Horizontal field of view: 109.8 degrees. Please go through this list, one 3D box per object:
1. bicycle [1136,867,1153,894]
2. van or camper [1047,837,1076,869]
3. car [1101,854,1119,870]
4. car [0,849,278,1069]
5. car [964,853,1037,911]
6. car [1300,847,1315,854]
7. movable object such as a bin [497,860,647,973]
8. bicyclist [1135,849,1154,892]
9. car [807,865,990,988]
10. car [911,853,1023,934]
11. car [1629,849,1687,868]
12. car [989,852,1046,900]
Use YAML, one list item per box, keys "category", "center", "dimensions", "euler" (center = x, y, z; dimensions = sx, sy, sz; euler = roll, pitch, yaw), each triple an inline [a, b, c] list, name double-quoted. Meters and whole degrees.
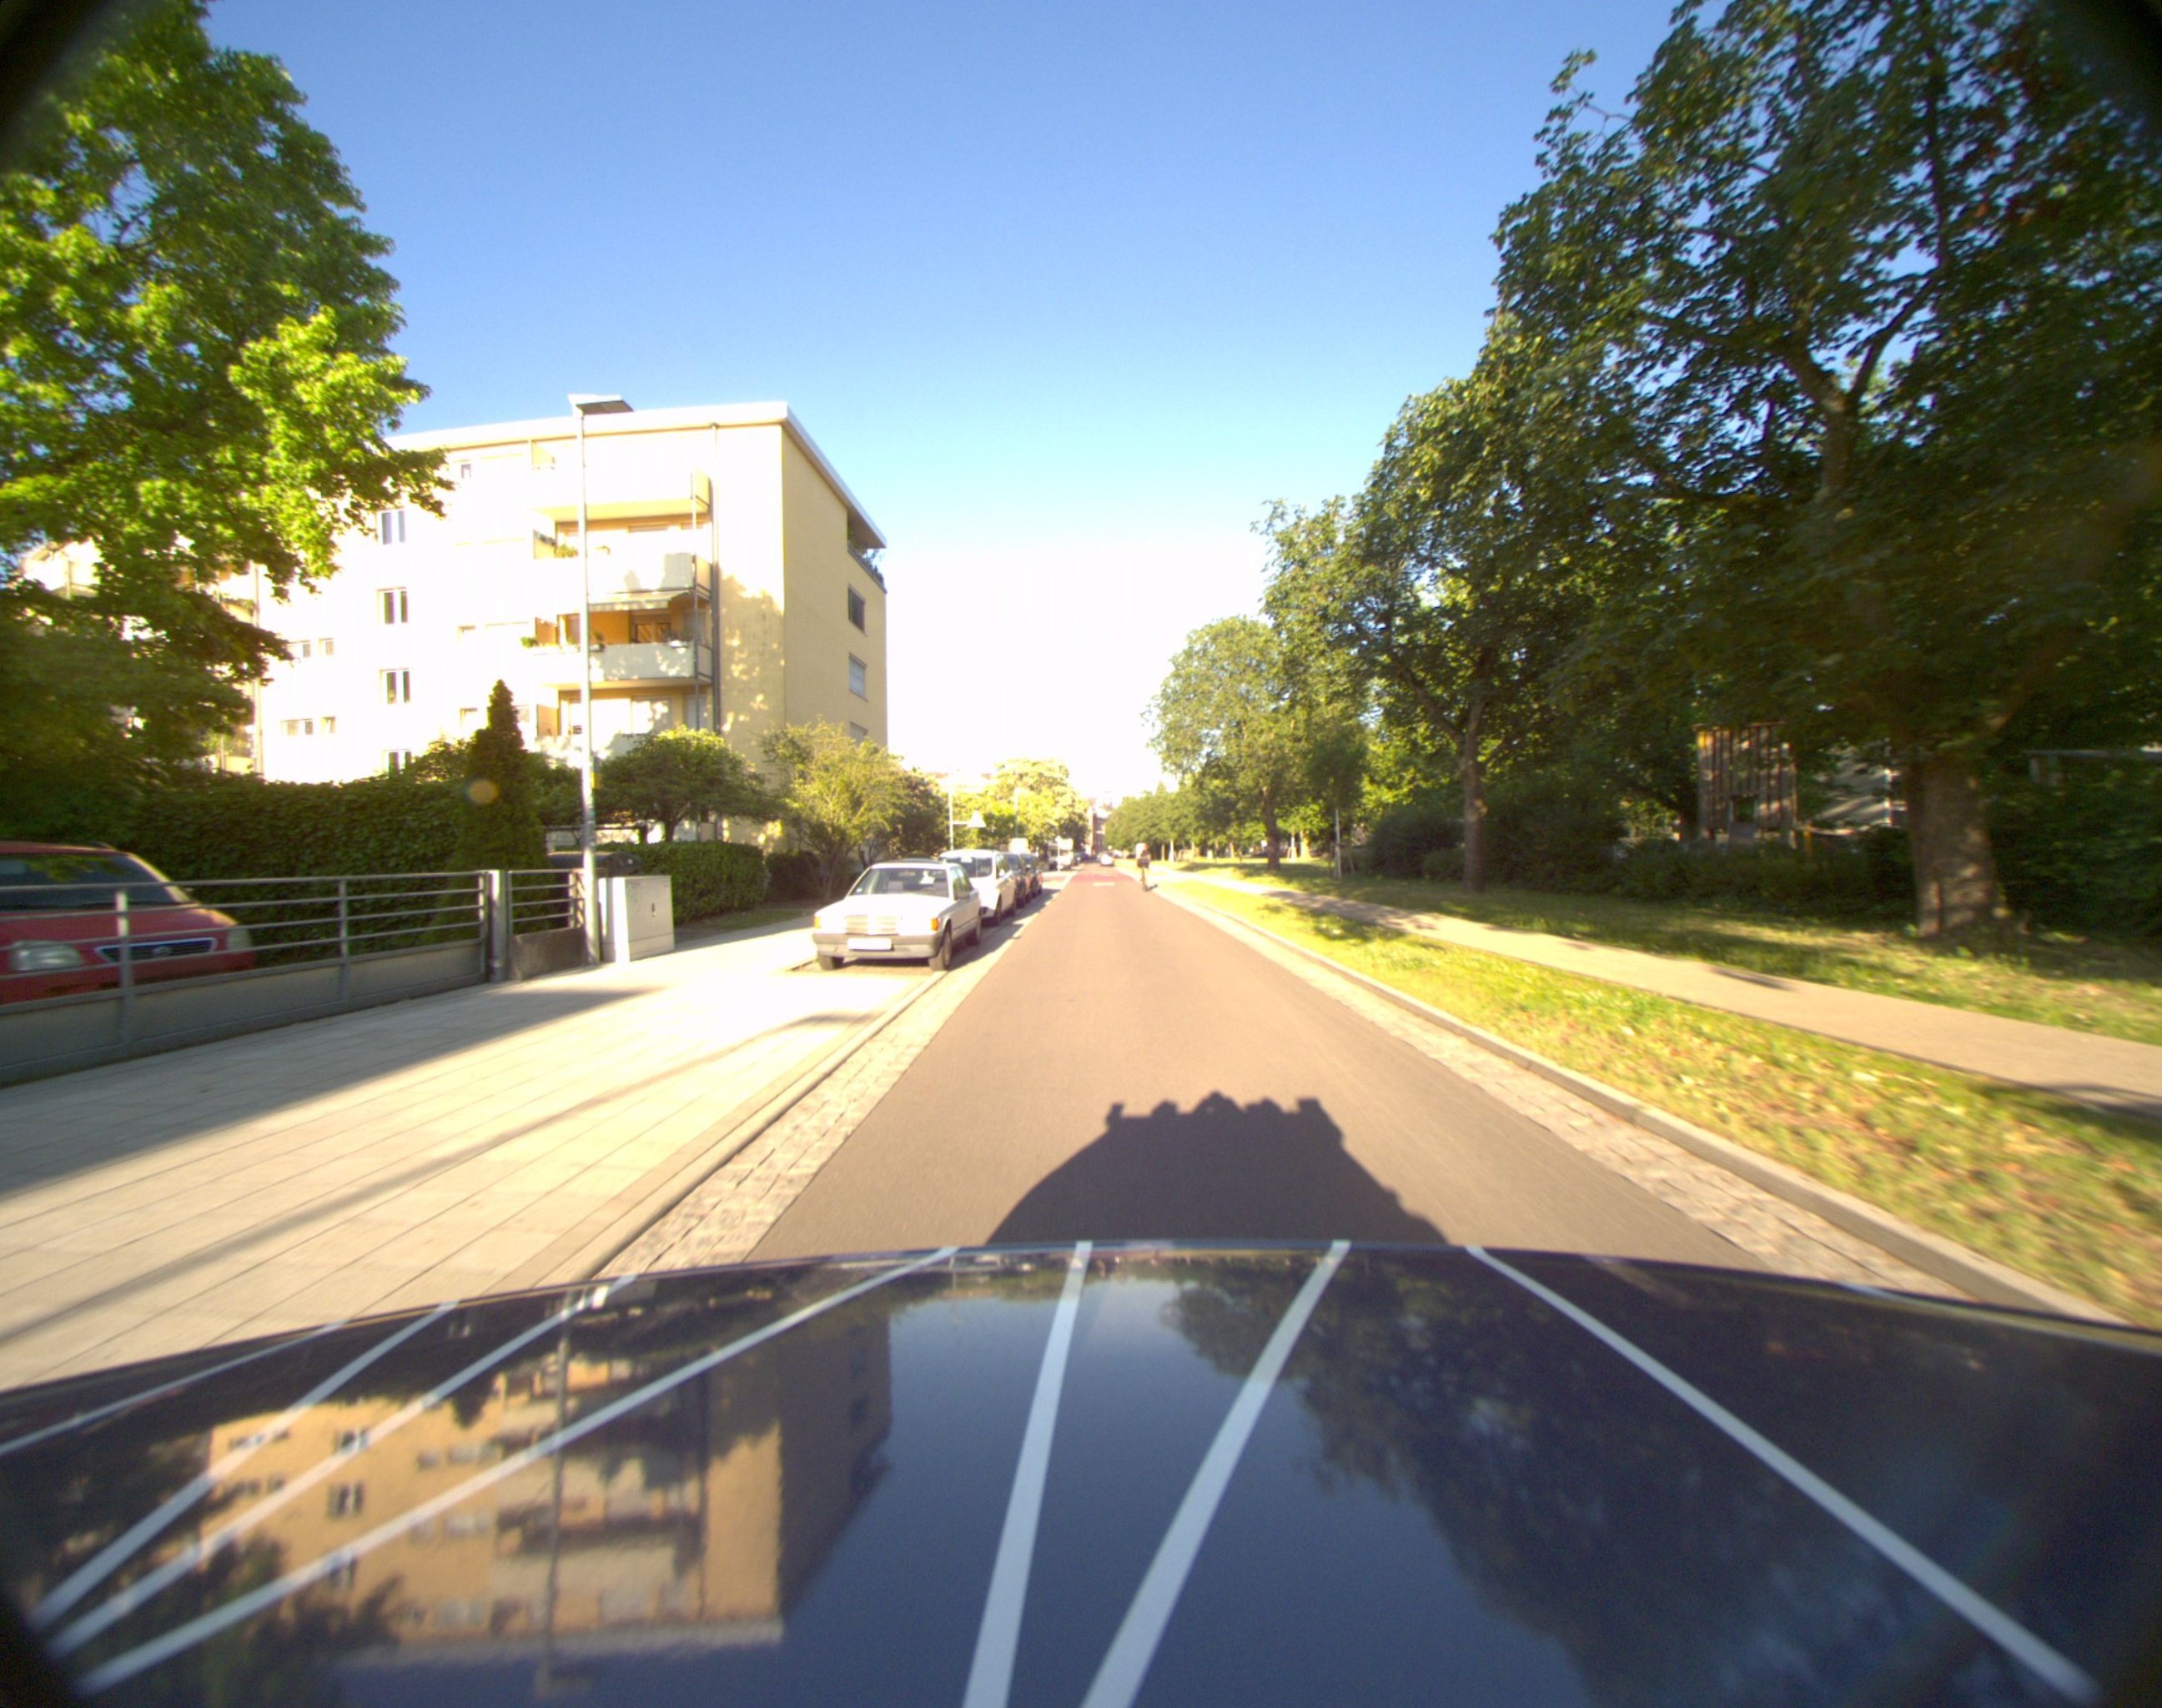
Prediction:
- category: "bicycle"
  center: [2.550, 1.053, 30.745]
  dimensions: [0.558, 1.026, 1.914]
  euler: [0, 1, 1]
- category: "van or camper"
  center: [-1.690, -0.082, 69.310]
  dimensions: [2.427, 2.766, 5.951]
  euler: [1, 1, 0]
- category: "car"
  center: [3.484, 0.917, 91.972]
  dimensions: [1.848, 1.837, 4.572]
  euler: [1, 1, -1]
- category: "car"
  center: [-9.544, 0.802, 6.700]
  dimensions: [3.499, 1.632, 1.644]
  euler: [-1, 1, 9]
- category: "car"
  center: [-2.283, 0.751, 22.466]
  dimensions: [1.683, 1.546, 4.144]
  euler: [1, 0, 1]
- category: "car"
  center: [45.470, -0.669, 152.779]
  dimensions: [1.796, 1.455, 4.000]
  euler: [-1, 0, 0]
- category: "movable object such as a bin"
  center: [-6.906, 0.812, 10.386]
  dimensions: [1.240, 1.424, 1.123]
  euler: [-1, 1, 3]
- category: "bicyclist"
  center: [2.546, 0.654, 30.660]
  dimensions: [0.683, 1.663, 1.172]
  euler: [0, 1, 1]
- category: "car"
  center: [-2.455, 0.901, 11.327]
  dimensions: [1.567, 1.382, 4.374]
  euler: [1, 0, 1]
- category: "car"
  center: [-2.376, 0.765, 16.811]
  dimensions: [1.682, 1.546, 4.130]
  euler: [1, 0, 2]
- category: "car"
  center: [43.499, 0.348, 57.388]
  dimensions: [1.526, 1.359, 3.793]
  euler: [-1, 0, 1]
- category: "car"
  center: [-2.244, 0.749, 27.950]
  dimensions: [1.714, 1.601, 4.168]
  euler: [1, 0, 0]
